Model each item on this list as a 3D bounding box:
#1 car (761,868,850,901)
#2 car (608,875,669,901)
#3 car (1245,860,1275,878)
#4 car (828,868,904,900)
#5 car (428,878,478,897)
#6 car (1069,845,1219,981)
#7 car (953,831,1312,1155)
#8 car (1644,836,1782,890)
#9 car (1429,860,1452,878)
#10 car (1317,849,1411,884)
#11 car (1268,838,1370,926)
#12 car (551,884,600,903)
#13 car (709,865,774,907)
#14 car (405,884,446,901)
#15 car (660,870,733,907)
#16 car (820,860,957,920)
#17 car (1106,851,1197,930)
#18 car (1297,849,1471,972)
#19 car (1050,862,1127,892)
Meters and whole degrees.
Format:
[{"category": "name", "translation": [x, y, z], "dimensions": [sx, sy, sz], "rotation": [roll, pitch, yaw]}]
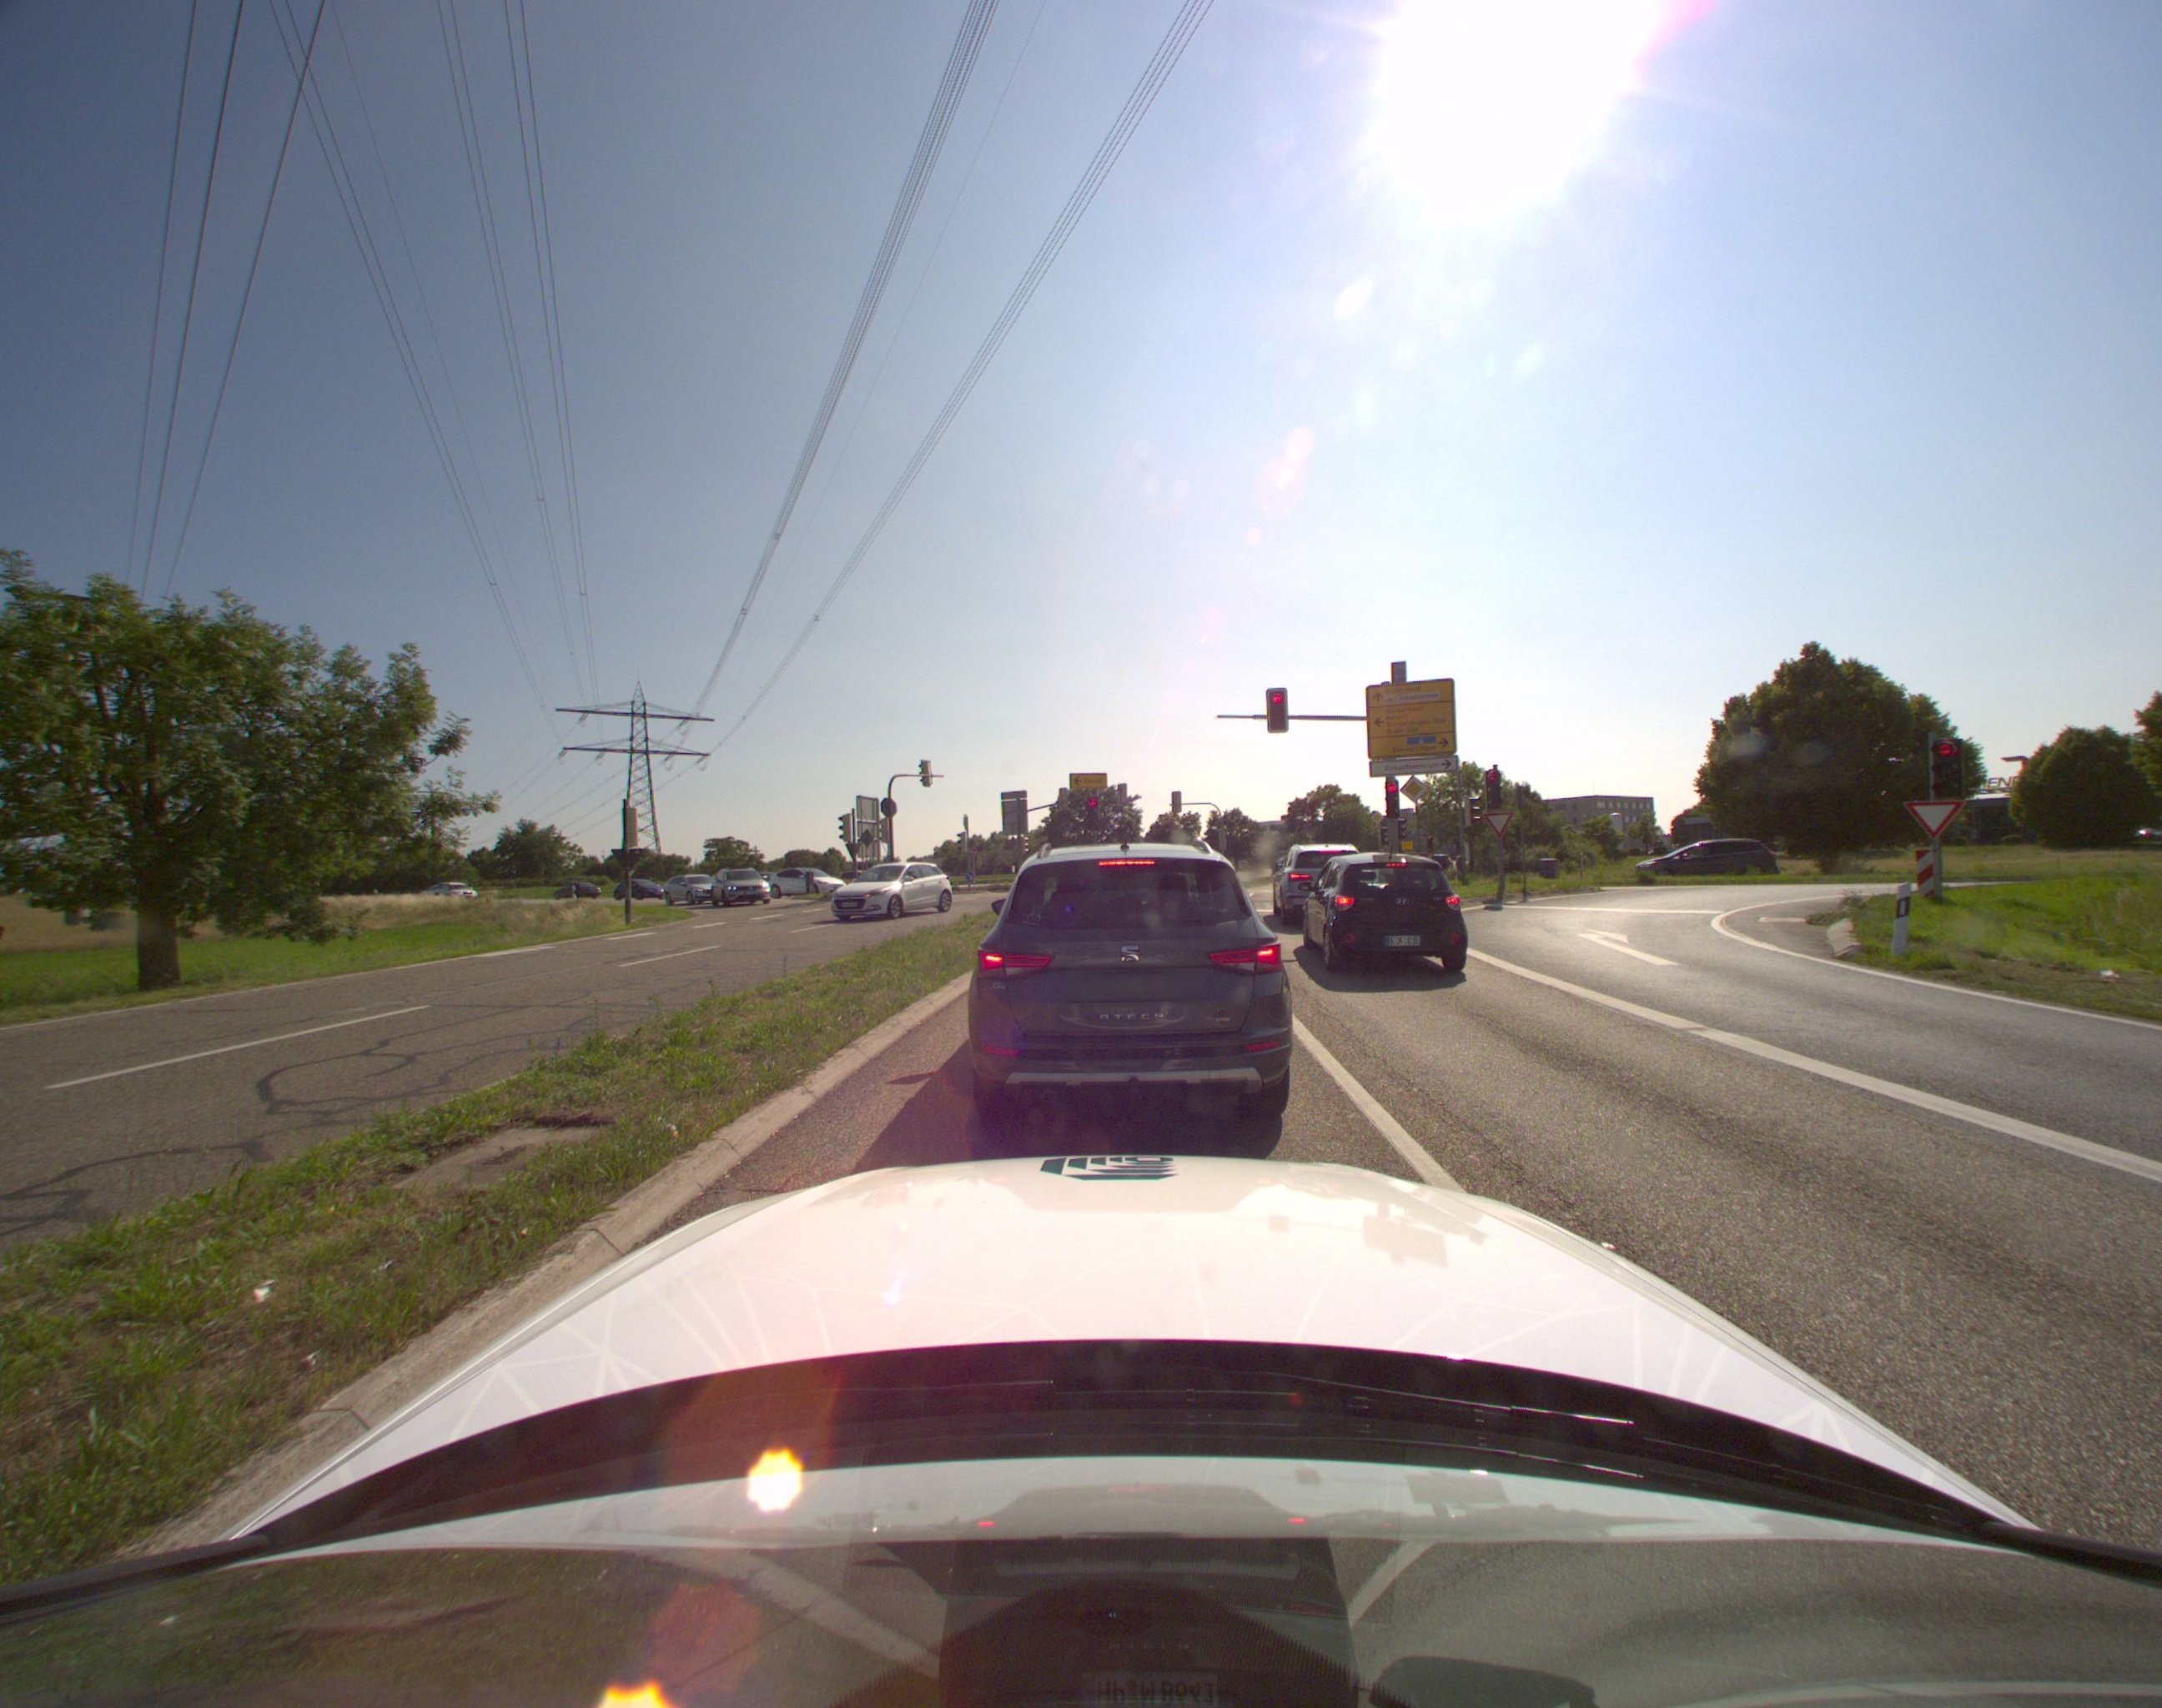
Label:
[{"category": "car", "translation": [-14.826, 1.629, 43.719], "dimensions": [4.700, 1.651, 1.831], "rotation": [-2, -1, 29]}, {"category": "car", "translation": [-30.742, 2.354, 56.565], "dimensions": [3.949, 1.651, 1.831], "rotation": [-2, -1, 29]}, {"category": "car", "translation": [17.714, 1.470, 80.452], "dimensions": [1.859, 1.673, 3.793], "rotation": [0, -1, 29]}, {"category": "car", "translation": [-12.132, 1.699, 45.978], "dimensions": [3.949, 1.651, 1.831], "rotation": [-2, -1, 29]}, {"category": "car", "translation": [-53.711, 2.859, 69.651], "dimensions": [3.949, 1.485, 1.831], "rotation": [0, 0, 28]}, {"category": "car", "translation": [0.814, 0.696, 11.244], "dimensions": [1.735, 1.569, 3.626], "rotation": [0, -1, 3]}, {"category": "car", "translation": [0.305, 0.690, 5.767], "dimensions": [1.735, 1.569, 3.625], "rotation": [0, -1, 2]}, {"category": "car", "translation": [24.485, 0.369, 31.724], "dimensions": [3.969, 1.953, 1.706], "rotation": [-2, -1, 29]}, {"category": "car", "translation": [35.829, 1.462, 81.080], "dimensions": [1.859, 1.673, 3.792], "rotation": [0, -1, 27]}, {"category": "car", "translation": [13.464, 0.616, 38.756], "dimensions": [3.986, 1.519, 1.818], "rotation": [-2, -1, 27]}, {"category": "car", "translation": [5.008, 0.557, 17.567], "dimensions": [1.623, 1.677, 3.758], "rotation": [-1, 0, 9]}, {"category": "car", "translation": [-43.263, 3.404, 69.653], "dimensions": [3.831, 1.519, 1.818], "rotation": [-2, -1, 27]}, {"category": "car", "translation": [-14.604, 1.351, 34.906], "dimensions": [1.827, 1.651, 3.958], "rotation": [-1, -1, -34]}, {"category": "car", "translation": [-66.658, 3.924, 82.770], "dimensions": [3.831, 1.519, 1.818], "rotation": [-2, -1, 27]}, {"category": "car", "translation": [-19.036, 1.691, 40.238], "dimensions": [3.949, 1.651, 1.831], "rotation": [-2, -1, 42]}, {"category": "car", "translation": [-5.167, 0.931, 22.374], "dimensions": [1.703, 1.465, 3.933], "rotation": [-1, -1, 21]}, {"category": "car", "translation": [1.565, 0.712, 17.352], "dimensions": [1.732, 1.484, 3.631], "rotation": [0, -1, 7]}, {"category": "car", "translation": [4.040, 0.680, 11.356], "dimensions": [1.623, 1.448, 3.303], "rotation": [-1, 0, 9]}, {"category": "car", "translation": [0.413, 1.298, 45.713], "dimensions": [3.832, 1.519, 1.818], "rotation": [-2, -1, 25]}]
